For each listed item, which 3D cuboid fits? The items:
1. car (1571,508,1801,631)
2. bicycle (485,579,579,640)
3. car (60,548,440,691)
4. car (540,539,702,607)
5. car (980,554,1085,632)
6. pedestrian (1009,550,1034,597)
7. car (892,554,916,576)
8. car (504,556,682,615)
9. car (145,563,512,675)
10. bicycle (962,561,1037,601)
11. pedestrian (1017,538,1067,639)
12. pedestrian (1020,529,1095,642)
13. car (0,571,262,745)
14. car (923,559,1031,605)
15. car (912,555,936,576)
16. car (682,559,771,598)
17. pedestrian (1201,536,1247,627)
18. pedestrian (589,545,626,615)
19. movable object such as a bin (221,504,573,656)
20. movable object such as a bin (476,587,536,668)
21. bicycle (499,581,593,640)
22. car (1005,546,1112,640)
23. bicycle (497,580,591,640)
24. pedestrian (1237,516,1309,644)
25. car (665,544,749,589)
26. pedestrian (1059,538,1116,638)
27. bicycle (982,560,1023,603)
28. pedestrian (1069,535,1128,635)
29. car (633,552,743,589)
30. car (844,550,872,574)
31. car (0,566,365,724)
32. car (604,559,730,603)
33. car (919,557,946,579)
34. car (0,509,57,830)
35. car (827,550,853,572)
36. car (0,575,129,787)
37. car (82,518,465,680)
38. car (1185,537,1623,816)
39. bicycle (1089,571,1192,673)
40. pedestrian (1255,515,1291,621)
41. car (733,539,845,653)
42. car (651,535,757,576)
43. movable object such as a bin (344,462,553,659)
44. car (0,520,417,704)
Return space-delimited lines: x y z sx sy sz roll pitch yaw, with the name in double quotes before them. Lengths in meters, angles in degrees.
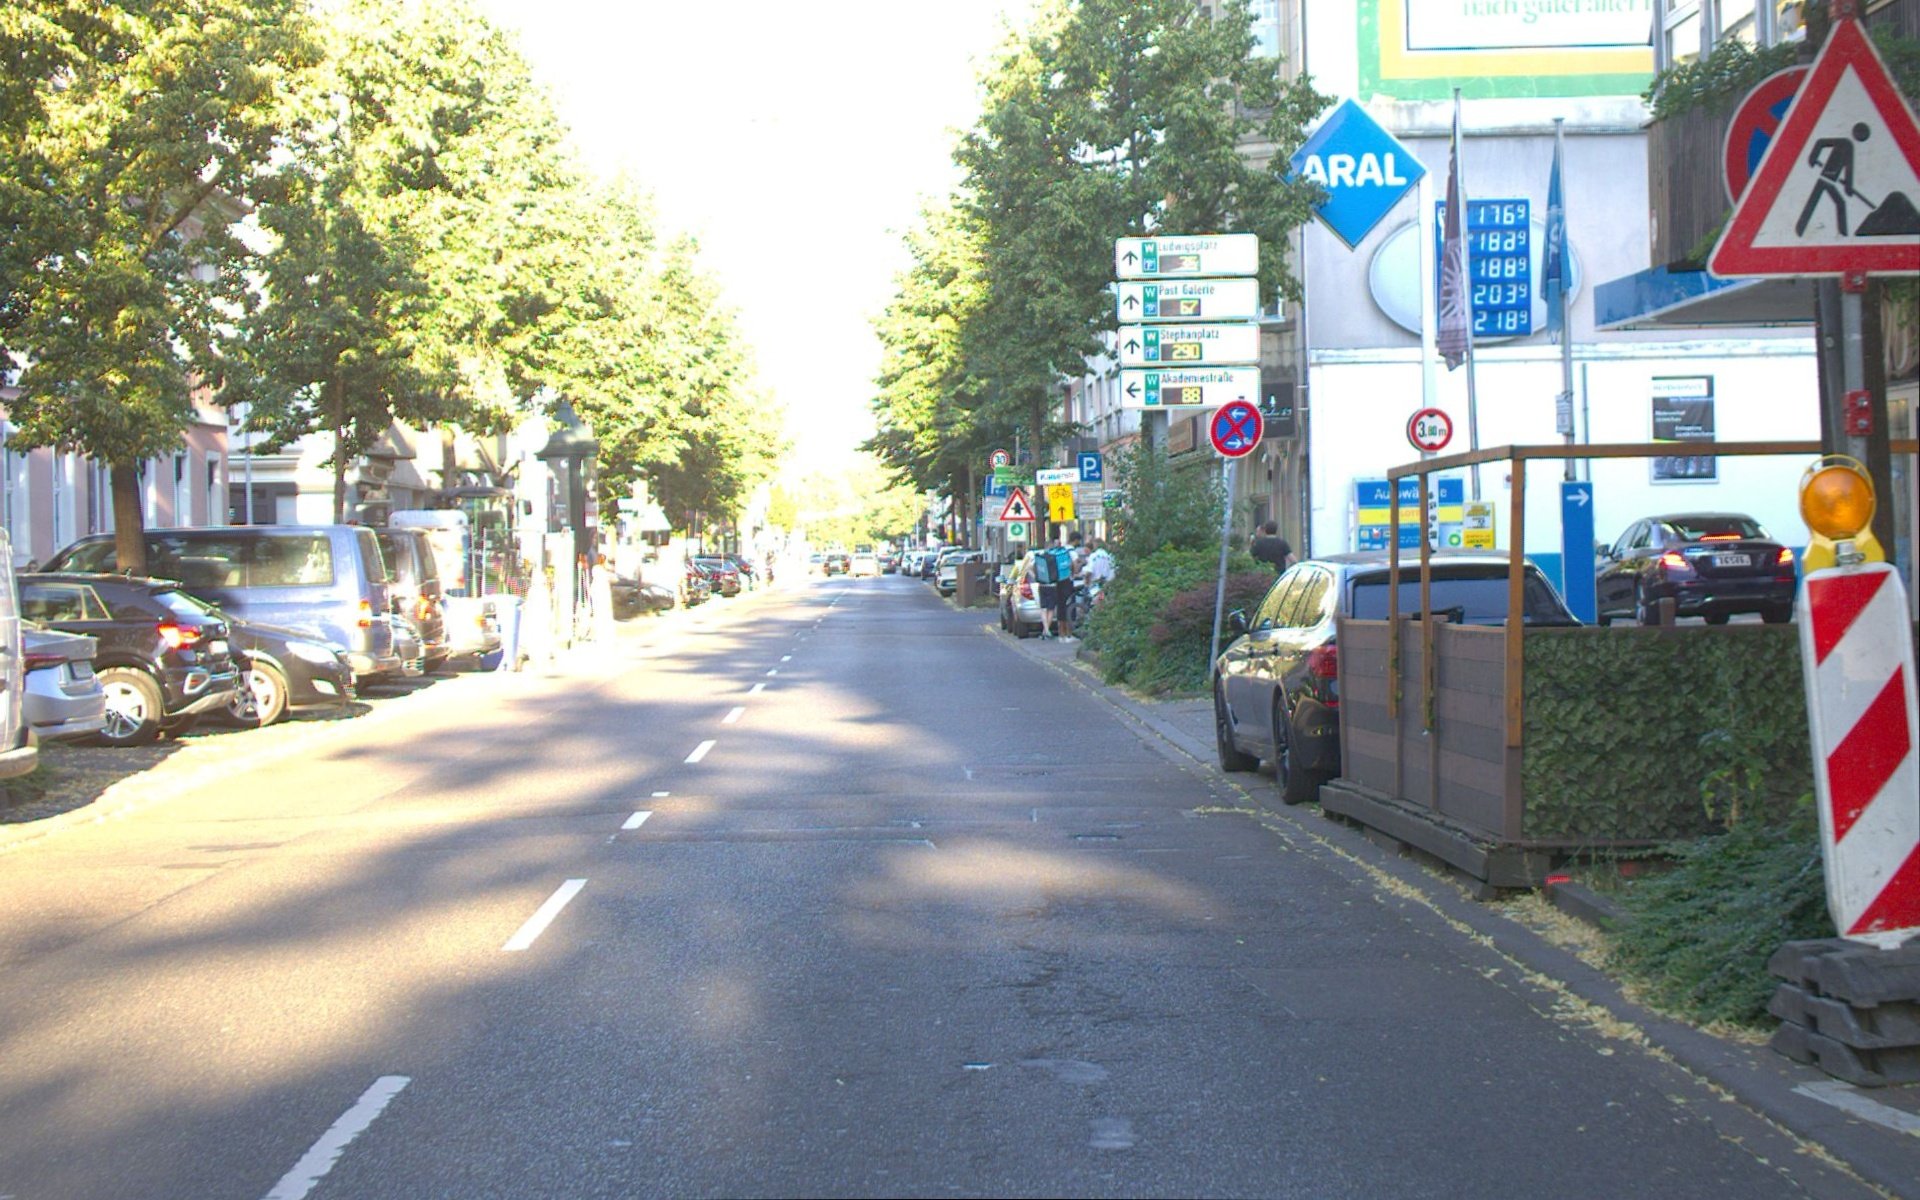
"car" 9.200 -0.357 43.957 1.734 1.426 4.909 -2 0 -1
"bicycle" -8.018 0.182 64.461 1.682 1.075 0.444 2 -1 -2
"car" -8.357 0.208 40.736 4.129 1.631 1.860 0 1 0
"car" -9.915 -0.785 100.801 4.571 1.955 1.991 0 0 -1
"car" 1.391 -0.159 67.592 1.785 1.371 4.524 -3 1 -2
"pedestrian" 1.837 -0.790 102.635 0.726 1.374 0.781 -1 1 -1
"car" -4.082 -2.575 250.994 1.752 1.535 3.304 -1 0 0
"car" -9.630 -0.381 90.475 4.546 1.536 1.811 0 0 -2
"car" -8.496 0.236 46.503 4.594 1.465 1.892 0 1 2
"bicycle" 1.083 -0.524 94.859 1.957 1.070 0.704 0 1 31
"pedestrian" 1.430 -0.203 60.079 0.677 1.748 0.825 -1 0 -12
"pedestrian" 1.622 -0.240 57.247 1.013 1.819 0.780 -3 1 -11
"car" -8.443 0.497 30.908 3.923 1.496 1.905 0 1 1
"car" 0.607 -0.637 119.518 1.674 1.583 3.814 1 1 42
"car" -2.284 -2.173 217.176 1.513 1.259 3.304 0 0 0
"car" -11.951 -1.107 176.378 4.442 1.953 1.919 0 0 0
"pedestrian" 4.646 -0.332 60.585 0.658 1.557 0.701 -3 1 -1
"pedestrian" -8.542 -0.483 83.310 0.710 1.680 0.833 0 1 8
"movable object such as a bin" -9.569 -0.377 58.871 2.312 2.486 5.741 0 1 42
"movable object such as a bin" -6.408 0.386 48.559 0.690 1.101 0.883 -2 1 1
"bicycle" -7.902 0.201 65.646 1.683 1.075 0.444 2 -1 7
"car" 1.780 -0.157 63.115 1.687 1.569 4.013 -3 1 -1
"bicycle" -7.874 0.193 65.055 1.683 1.075 0.444 2 -1 7
"pedestrian" 4.680 -0.307 51.463 0.822 1.847 1.097 -3 1 -3
"car" -13.716 -1.825 186.527 4.442 2.426 1.919 0 0 0
"pedestrian" 2.234 -0.211 60.323 0.677 1.700 0.825 -3 1 -16
"bicycle" 1.195 -0.524 96.322 0.598 1.174 1.844 0 1 18
"pedestrian" 2.409 -0.264 59.716 0.667 1.694 0.651 -2 1 45
"car" -11.260 -1.221 142.608 4.442 1.518 1.919 0 0 0
"car" -6.803 -2.551 229.786 1.752 1.535 3.304 -1 0 0
"car" -8.123 0.424 33.919 4.325 1.496 1.842 0 1 -6
"car" -10.644 -0.694 125.220 4.442 1.562 1.919 0 0 0
"car" -1.585 -1.833 199.057 1.513 1.271 3.304 0 0 0
"car" -8.132 0.439 20.668 4.870 1.901 1.974 -1 1 -1
"car" -8.595 -2.804 247.143 1.752 1.535 3.304 -1 0 0
"car" -8.556 0.565 25.235 4.478 1.480 1.734 0 1 1
"car" -8.586 -0.028 43.301 4.483 1.969 1.966 0 1 -3
"car" 2.670 0.398 21.833 1.828 1.483 4.850 -3 1 -3
"bicycle" 2.197 0.257 41.601 0.483 1.139 1.678 -3 1 29
"pedestrian" 5.570 -0.565 61.198 0.460 1.869 0.501 -2 1 -16
"car" -2.937 -0.103 59.684 1.708 1.817 4.013 -3 1 -1
"car" -11.084 -1.915 149.110 4.442 1.753 1.919 0 0 0
"movable object such as a bin" -8.059 -0.635 54.701 2.624 2.959 5.304 -1 1 -1
"car" -8.414 0.110 38.036 4.483 1.969 2.068 0 1 0
